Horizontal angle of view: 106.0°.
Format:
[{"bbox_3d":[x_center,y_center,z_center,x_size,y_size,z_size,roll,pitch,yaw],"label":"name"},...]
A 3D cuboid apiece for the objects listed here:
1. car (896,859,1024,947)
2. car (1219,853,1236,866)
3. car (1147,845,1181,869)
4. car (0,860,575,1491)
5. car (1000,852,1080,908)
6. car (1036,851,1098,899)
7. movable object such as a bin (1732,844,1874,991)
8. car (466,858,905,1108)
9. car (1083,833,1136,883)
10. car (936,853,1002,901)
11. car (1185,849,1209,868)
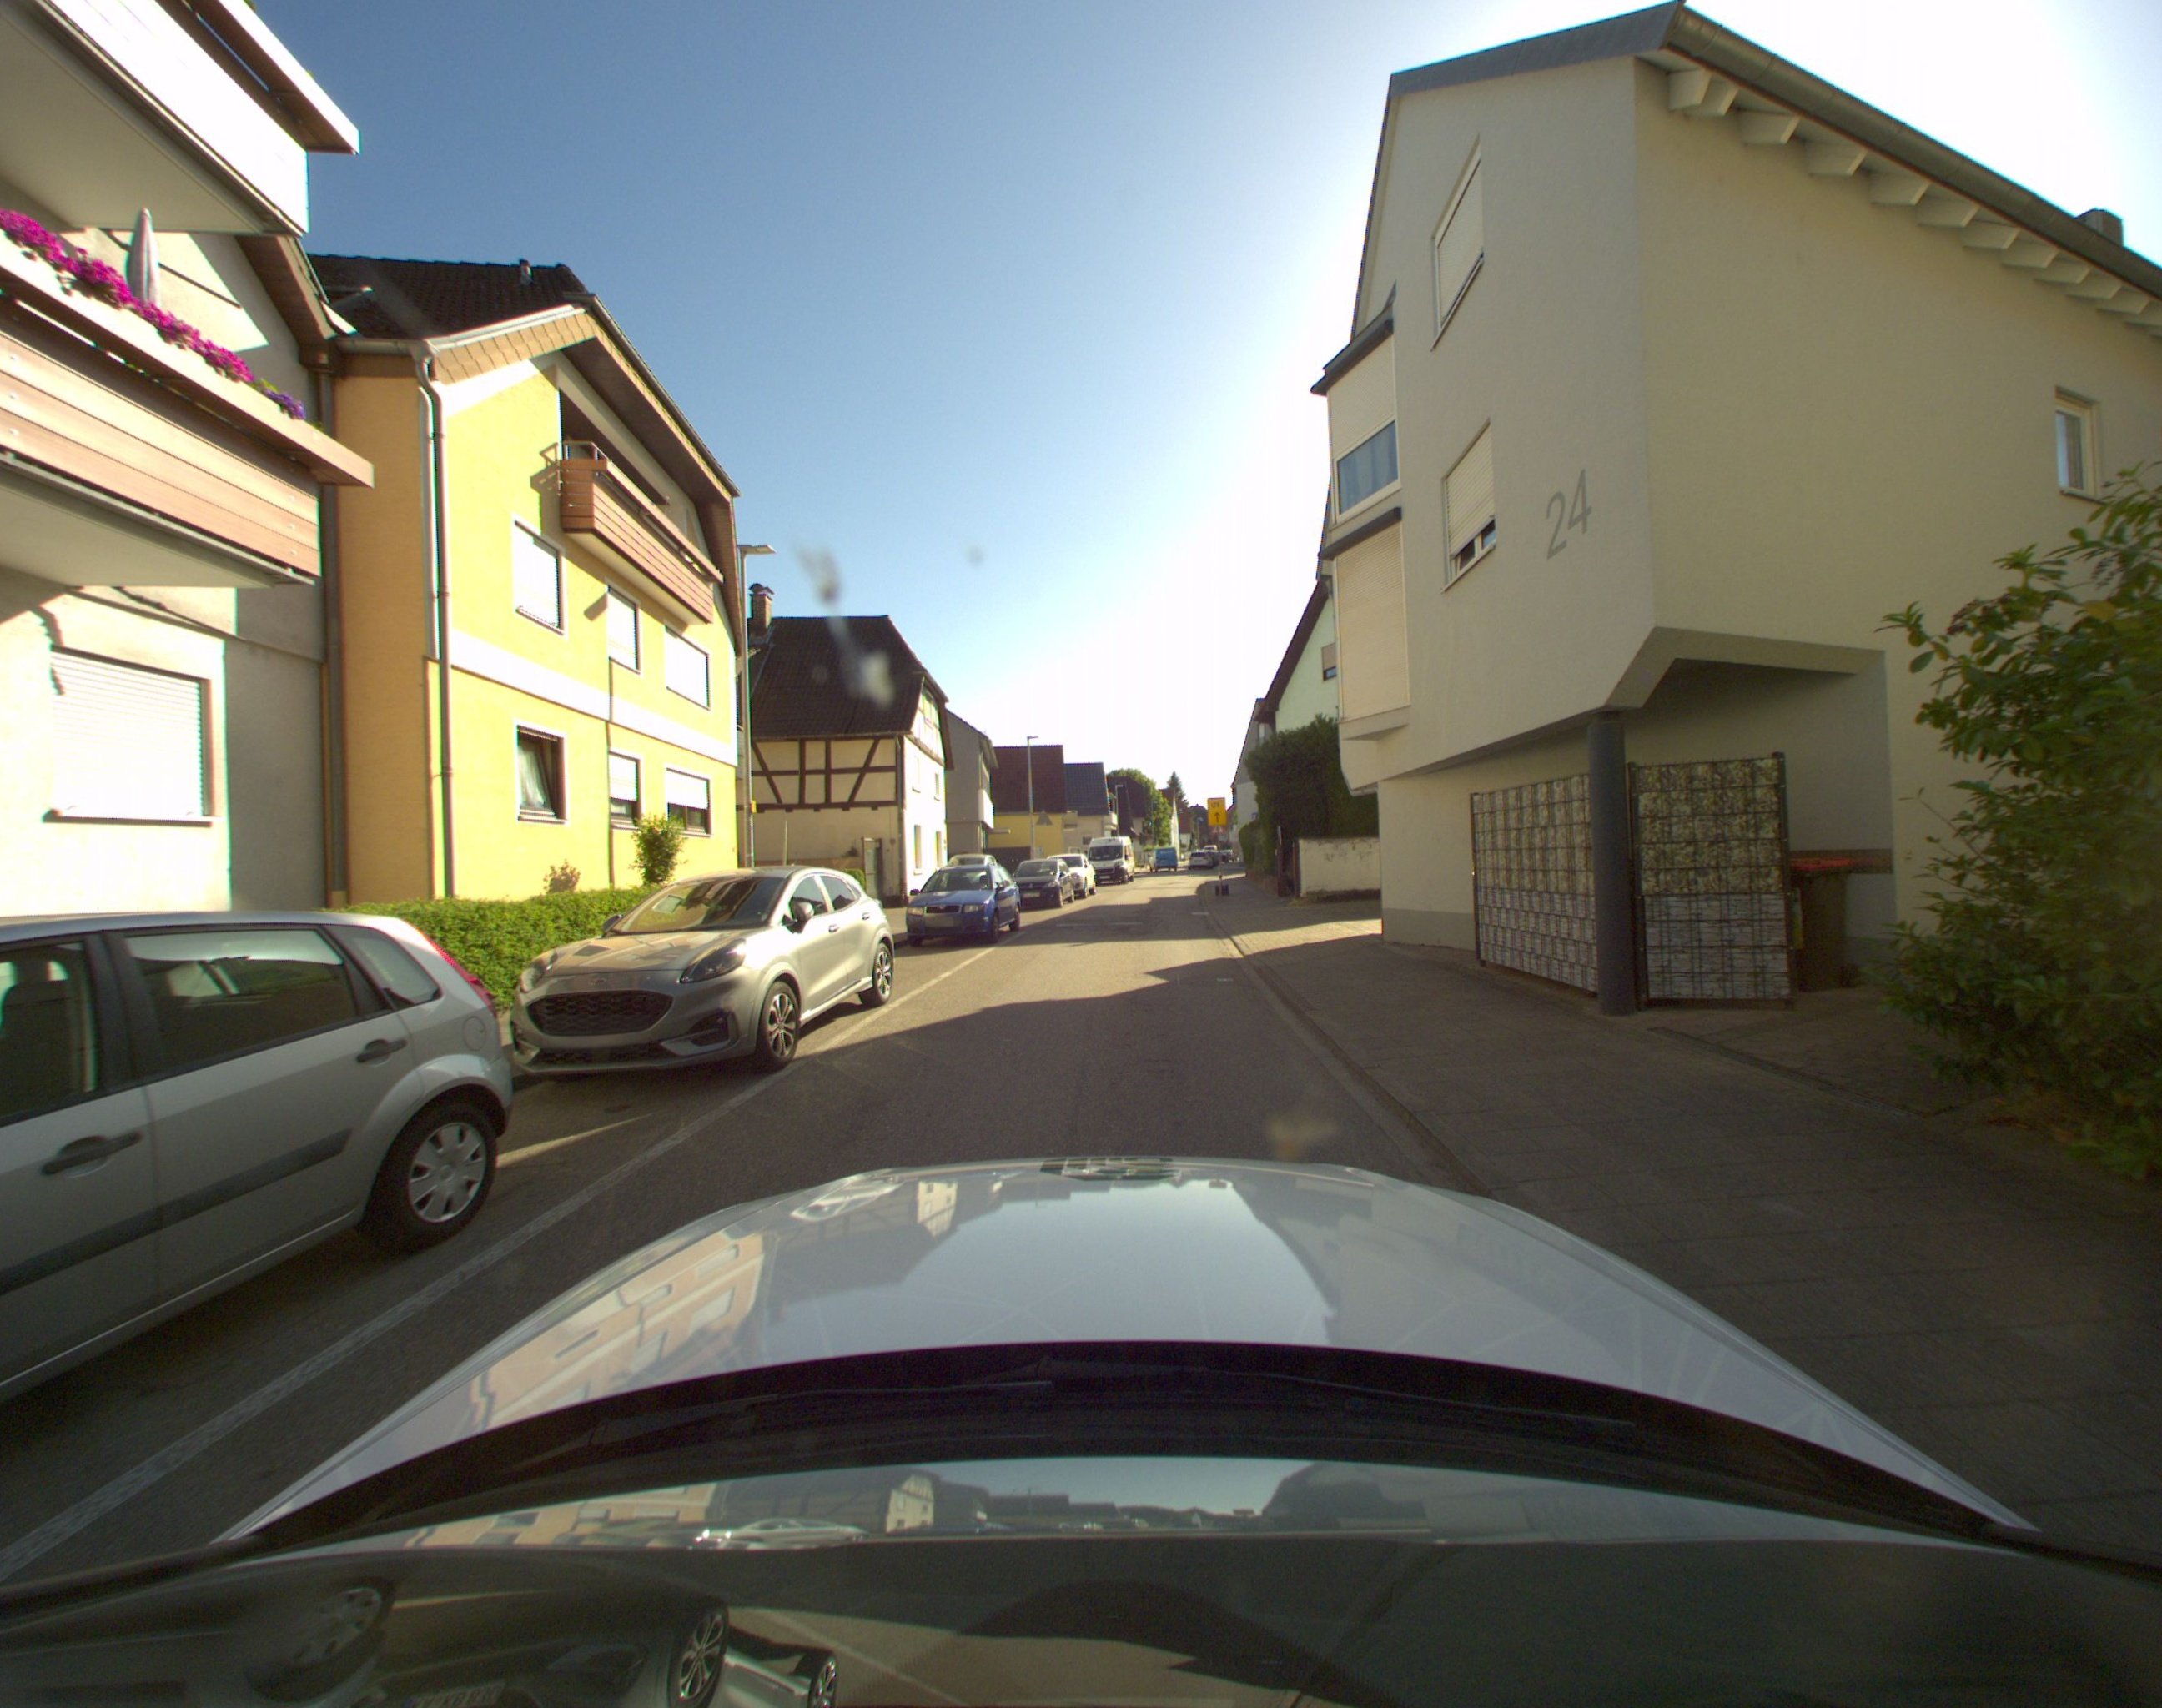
[{"bbox_3d":[-2.225,0.865,16.048,1.632,1.441,4.078,-3,-1,3],"label":"car"},{"bbox_3d":[18.721,0.738,104.260,1.917,1.571,4.013,0,-2,13],"label":"car"},{"bbox_3d":[6.692,0.212,66.198,1.916,1.801,4.775,-3,0,-3],"label":"car"},{"bbox_3d":[-3.468,0.851,2.174,1.625,1.505,3.854,-5,0,2],"label":"car"},{"bbox_3d":[-1.198,0.769,25.619,1.694,1.518,4.131,-3,-1,8],"label":"car"},{"bbox_3d":[-0.439,0.709,29.987,1.664,1.572,3.973,-3,0,7],"label":"car"},{"bbox_3d":[6.001,0.510,6.786,0.600,1.129,0.582,-3,-2,-16],"label":"movable object such as a bin"},{"bbox_3d":[-2.972,0.832,7.231,1.667,1.506,4.097,-3,0,3],"label":"car"},{"bbox_3d":[1.567,0.211,42.980,2.065,2.394,5.221,-3,-1,9],"label":"car"},{"bbox_3d":[-4.040,0.786,29.978,1.715,1.596,4.019,0,0,2],"label":"car"},{"bbox_3d":[9.598,0.398,67.437,1.835,1.413,4.006,0,-2,6],"label":"car"}]
